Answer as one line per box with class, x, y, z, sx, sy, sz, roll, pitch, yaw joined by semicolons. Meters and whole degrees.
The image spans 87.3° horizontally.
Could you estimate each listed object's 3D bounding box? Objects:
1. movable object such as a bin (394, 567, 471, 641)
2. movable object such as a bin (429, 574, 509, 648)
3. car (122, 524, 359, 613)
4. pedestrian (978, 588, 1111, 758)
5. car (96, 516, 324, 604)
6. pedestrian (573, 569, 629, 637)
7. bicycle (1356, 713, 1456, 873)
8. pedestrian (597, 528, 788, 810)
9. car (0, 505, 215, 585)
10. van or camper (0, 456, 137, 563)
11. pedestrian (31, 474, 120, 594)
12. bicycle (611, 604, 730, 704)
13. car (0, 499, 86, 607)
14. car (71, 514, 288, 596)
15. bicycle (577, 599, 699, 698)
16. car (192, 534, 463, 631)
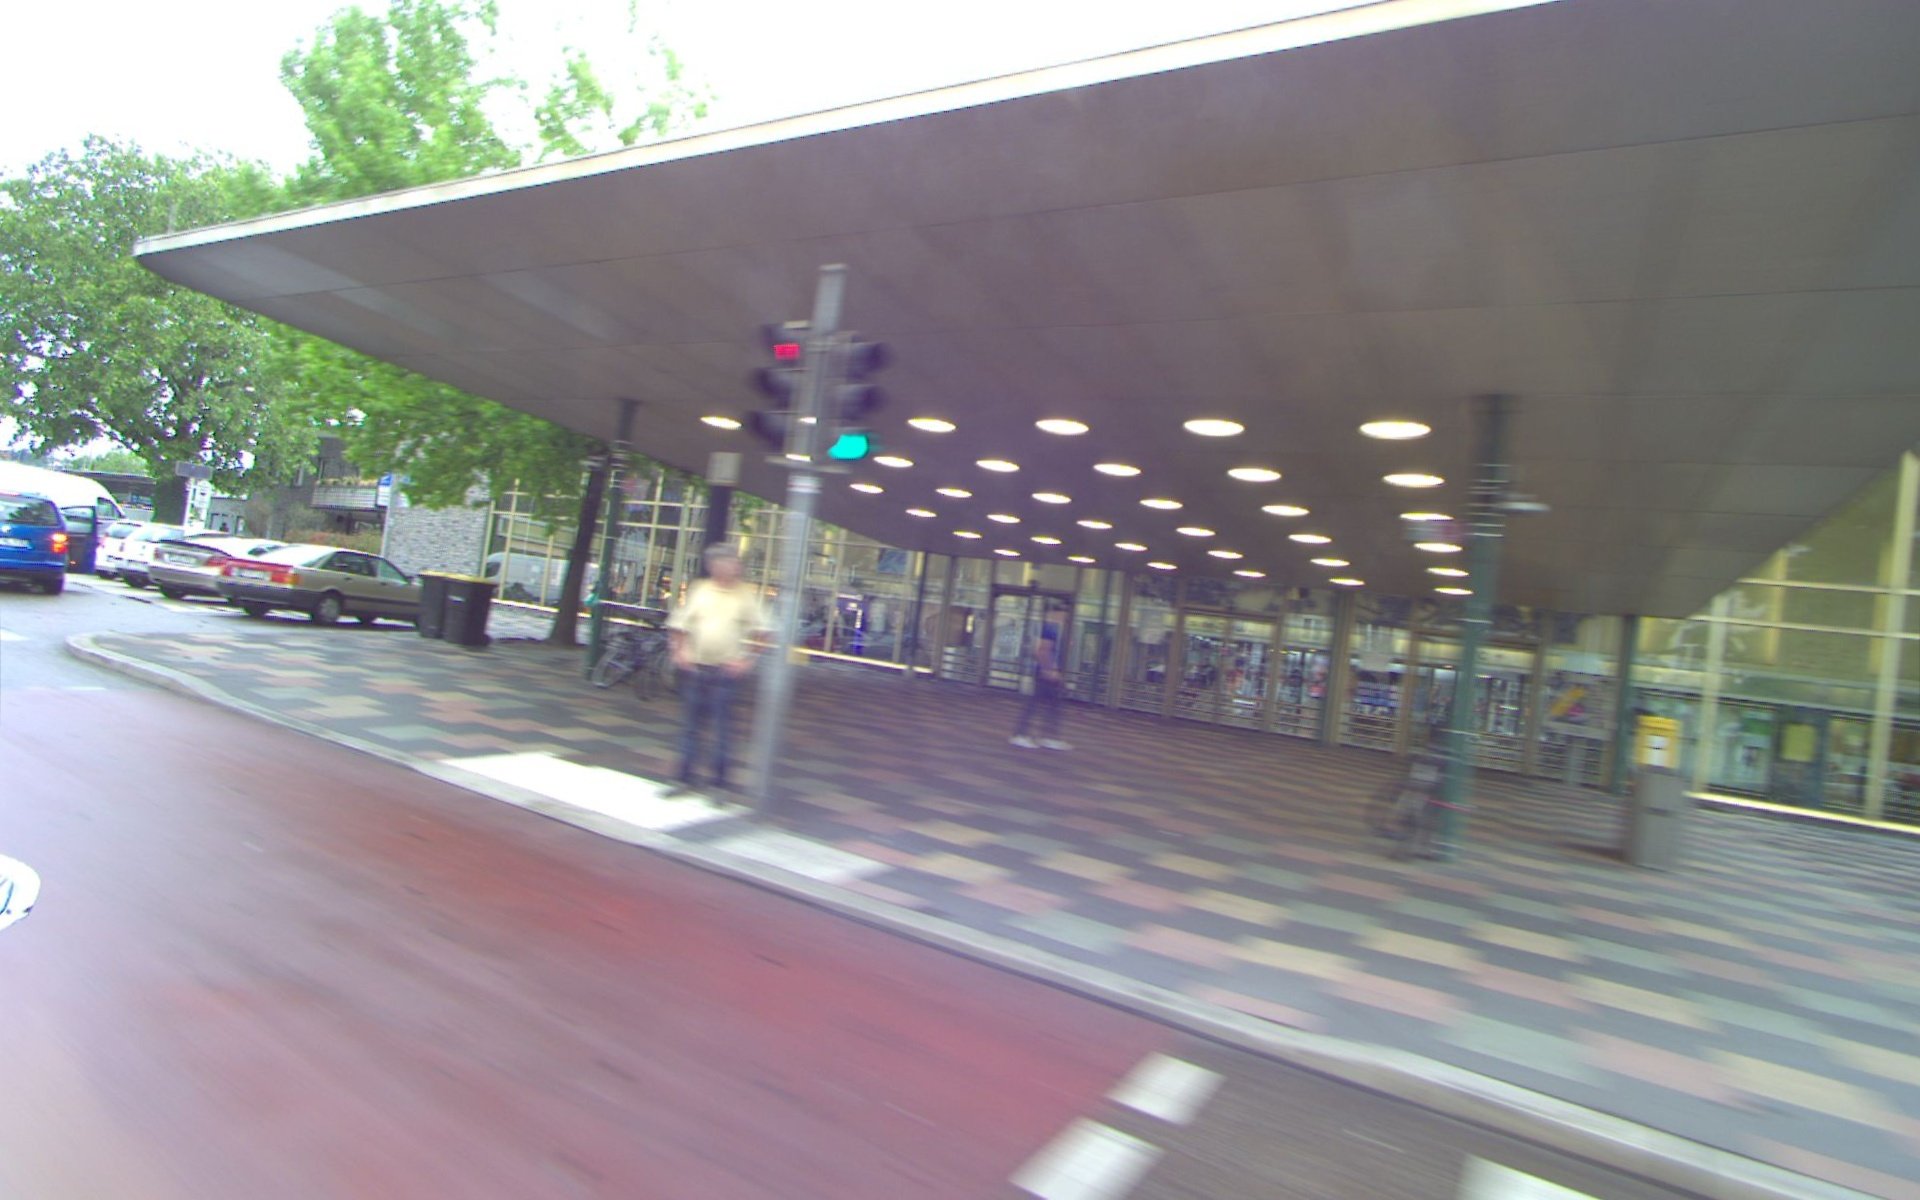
movable object such as a bin;-8.736;0.076;16.681;0.735;1.109;0.753;6;0;20
movable object such as a bin;-7.800;0.179;16.000;0.735;1.080;0.753;6;0;23
car;-14.674;-0.573;20.844;1.830;1.375;4.003;7;-2;1
pedestrian;1.027;0.863;12.167;1.170;1.857;0.857;6;0;31
car;-16.790;-0.823;22.810;1.829;1.460;4.004;6;-2;5
pedestrian;-8.976;0.082;25.154;0.799;1.578;0.867;6;1;25
bicycle;3.616;1.479;8.082;0.413;1.068;1.830;7;-1;31
pedestrian;-1.829;0.456;6.952;0.821;1.768;0.748;6;0;23
car;-21.560;-1.315;25.631;1.829;1.460;4.004;6;-2;5
van or camper;-28.307;-2.784;29.945;2.157;2.797;5.968;6;0;5
pedestrian;-16.048;-1.186;18.260;0.874;2.039;0.833;6;1;27
bicycle;-3.430;0.652;12.090;0.412;1.068;1.835;6;-2;14
car;-16.477;-0.919;16.808;3.938;1.587;1.860;6;-2;36
car;-18.838;-1.024;24.543;1.829;1.460;4.004;6;-2;5
bicycle;-3.859;0.599;12.227;0.412;1.068;1.835;6;-1;14
car;-11.640;-0.241;18.923;1.805;1.340;4.203;6;-2;12
